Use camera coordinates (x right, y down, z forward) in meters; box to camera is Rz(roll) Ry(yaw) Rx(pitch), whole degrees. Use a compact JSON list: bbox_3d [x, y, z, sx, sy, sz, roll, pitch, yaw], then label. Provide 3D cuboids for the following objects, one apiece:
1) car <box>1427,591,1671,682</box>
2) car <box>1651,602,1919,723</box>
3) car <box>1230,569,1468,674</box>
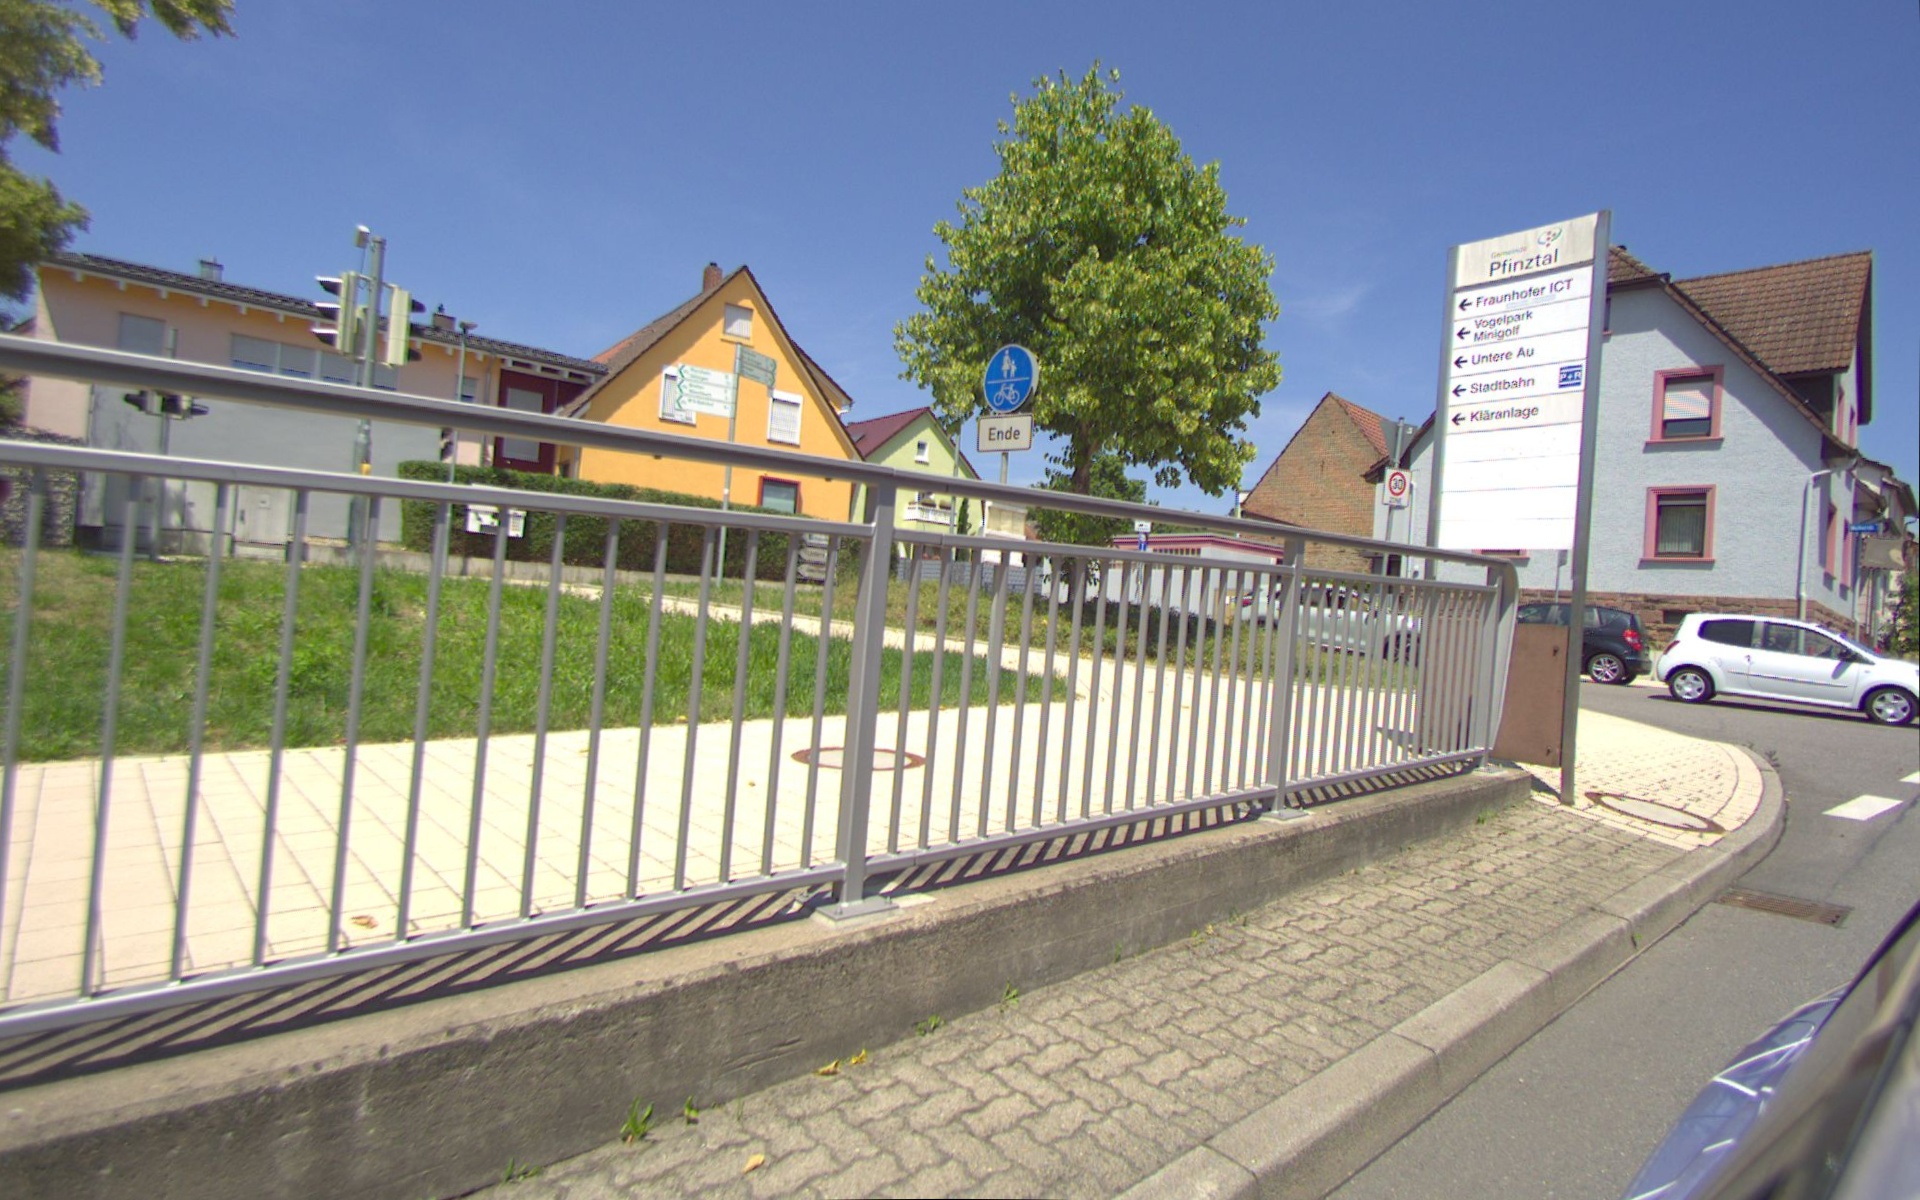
[{"bbox_3d":[12.330,0.734,21.308,4.140,1.609,1.841,2,-2,41],"label":"car"},{"bbox_3d":[13.040,0.907,15.609,3.670,1.497,1.748,5,1,42],"label":"car"},{"bbox_3d":[7.568,0.368,19.780,4.088,1.554,1.759,6,2,27],"label":"car"}]
